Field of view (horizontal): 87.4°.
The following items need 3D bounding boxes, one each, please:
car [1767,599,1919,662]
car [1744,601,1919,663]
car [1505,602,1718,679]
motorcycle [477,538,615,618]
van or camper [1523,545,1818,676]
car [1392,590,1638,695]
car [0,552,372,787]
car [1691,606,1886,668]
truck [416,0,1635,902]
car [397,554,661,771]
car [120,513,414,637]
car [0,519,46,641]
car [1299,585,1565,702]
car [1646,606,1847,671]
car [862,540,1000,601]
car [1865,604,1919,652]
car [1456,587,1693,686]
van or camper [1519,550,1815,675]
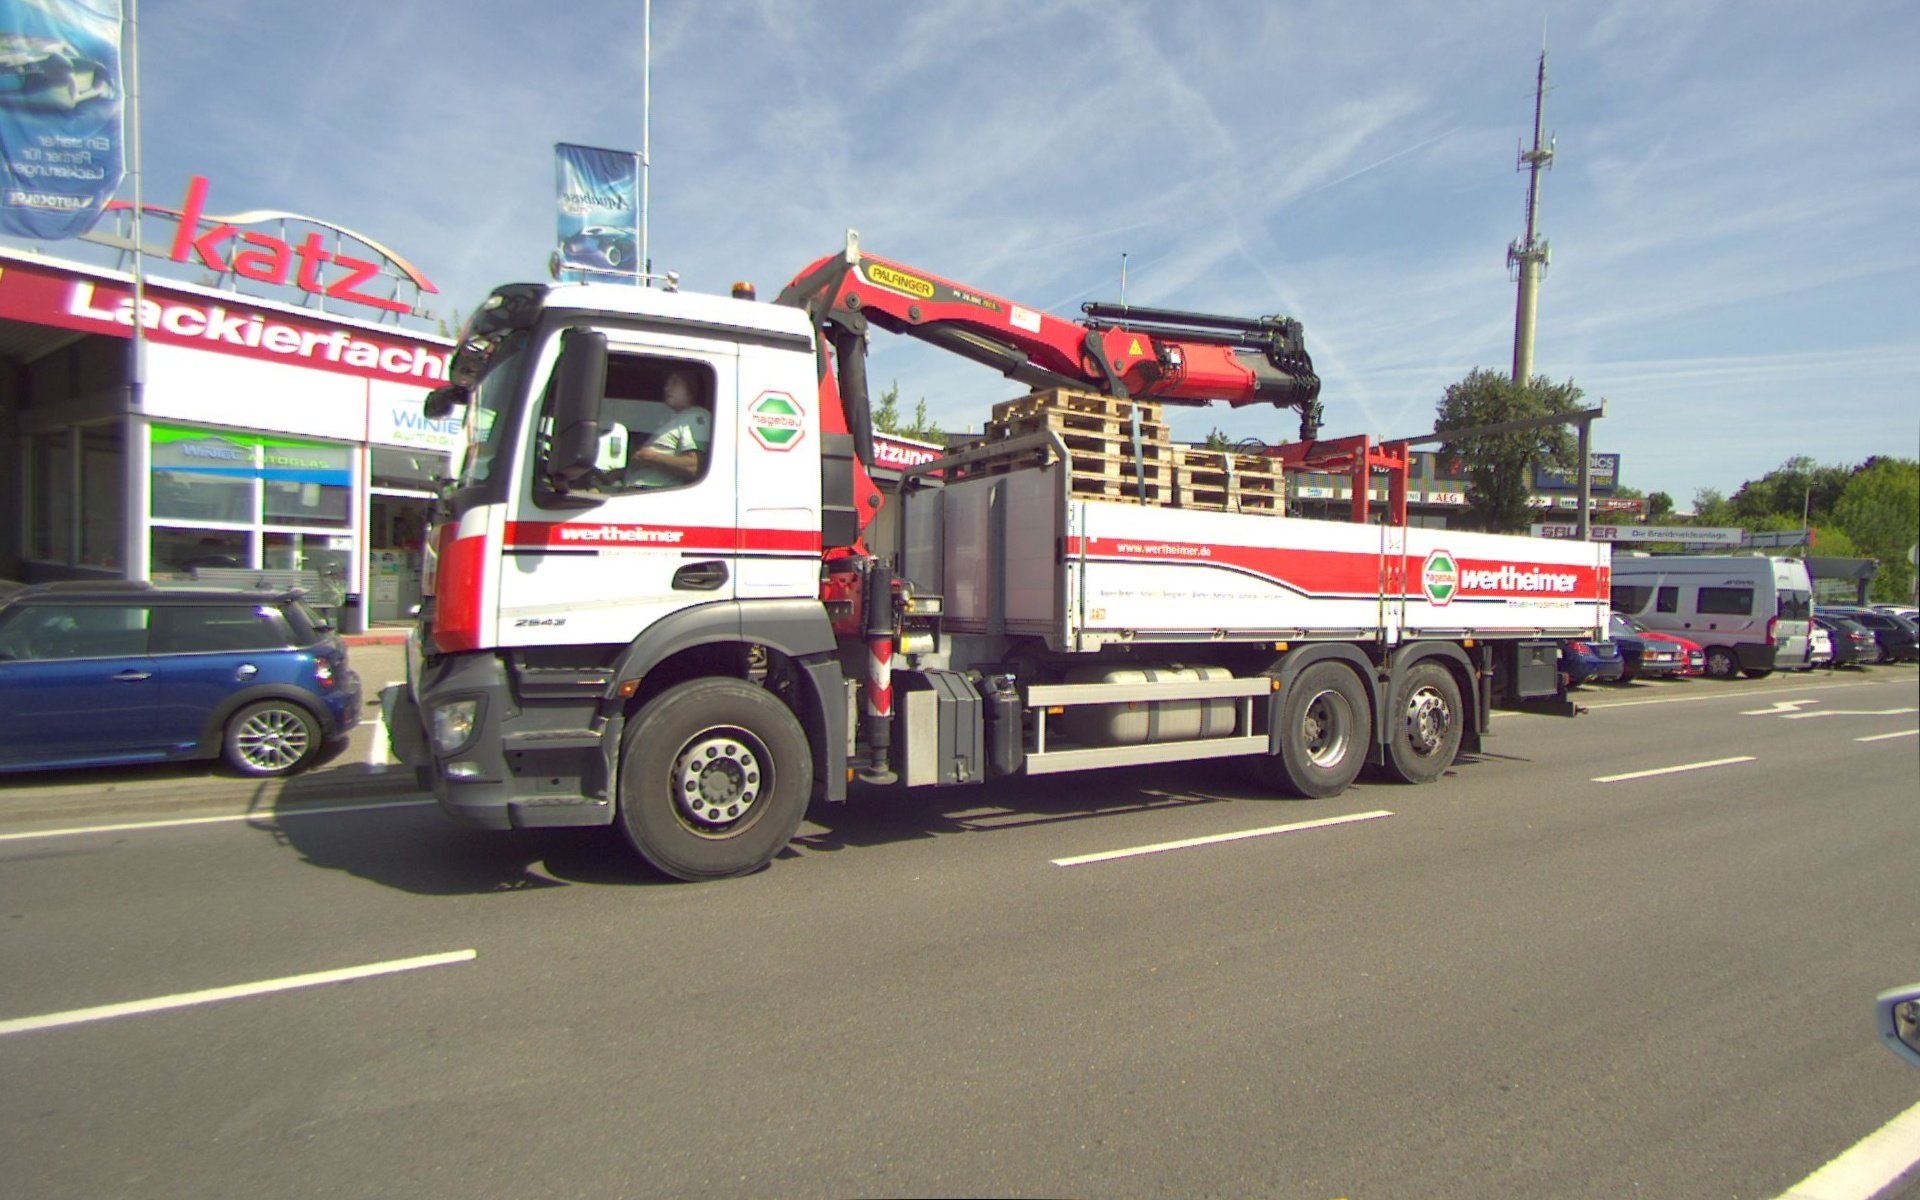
[{"bbox_3d":[27.200,0.876,30.496,1.822,1.698,3.795,1,1,-32],"label":"car"},{"bbox_3d":[25.388,0.870,29.109,1.822,1.560,3.795,1,1,-32],"label":"car"},{"bbox_3d":[14.513,0.849,22.551,1.791,1.500,3.576,1,1,-30],"label":"car"},{"bbox_3d":[-7.006,-0.357,17.103,0.760,1.278,2.046,2,1,38],"label":"motorcycle"},{"bbox_3d":[16.674,0.144,23.932,2.184,2.768,5.220,1,2,-30],"label":"van or camper"},{"bbox_3d":[10.419,0.707,19.101,1.689,1.577,3.686,0,4,-32],"label":"car"},{"bbox_3d":[-6.837,0.473,7.915,3.737,1.514,1.770,2,5,-30],"label":"car"},{"bbox_3d":[22.881,0.967,27.876,1.822,1.468,3.795,1,1,-32],"label":"car"},{"bbox_3d":[1.452,-0.690,8.510,10.525,4.265,2.941,1,0,-31],"label":"truck"},{"bbox_3d":[-4.476,0.445,10.077,1.827,1.546,3.773,1,5,-33],"label":"car"},{"bbox_3d":[-11.680,-0.426,17.143,1.676,1.782,3.750,7,4,33],"label":"car"},{"bbox_3d":[-14.248,-0.247,12.202,1.829,1.525,4.379,6,6,36],"label":"car"},{"bbox_3d":[8.228,0.668,17.840,1.782,1.505,3.821,1,5,-33],"label":"car"},{"bbox_3d":[20.775,0.970,26.668,1.822,1.468,3.795,1,1,-32],"label":"car"},{"bbox_3d":[-0.837,-0.870,30.710,3.987,1.694,1.887,1,1,-44],"label":"car"},{"bbox_3d":[36.137,1.081,36.677,2.089,1.716,4.528,2,1,1],"label":"car"},{"bbox_3d":[12.505,0.669,20.654,1.689,1.505,3.685,1,5,-33],"label":"car"},{"bbox_3d":[18.289,0.186,26.395,2.263,2.912,5.861,0,2,-31],"label":"van or camper"}]
